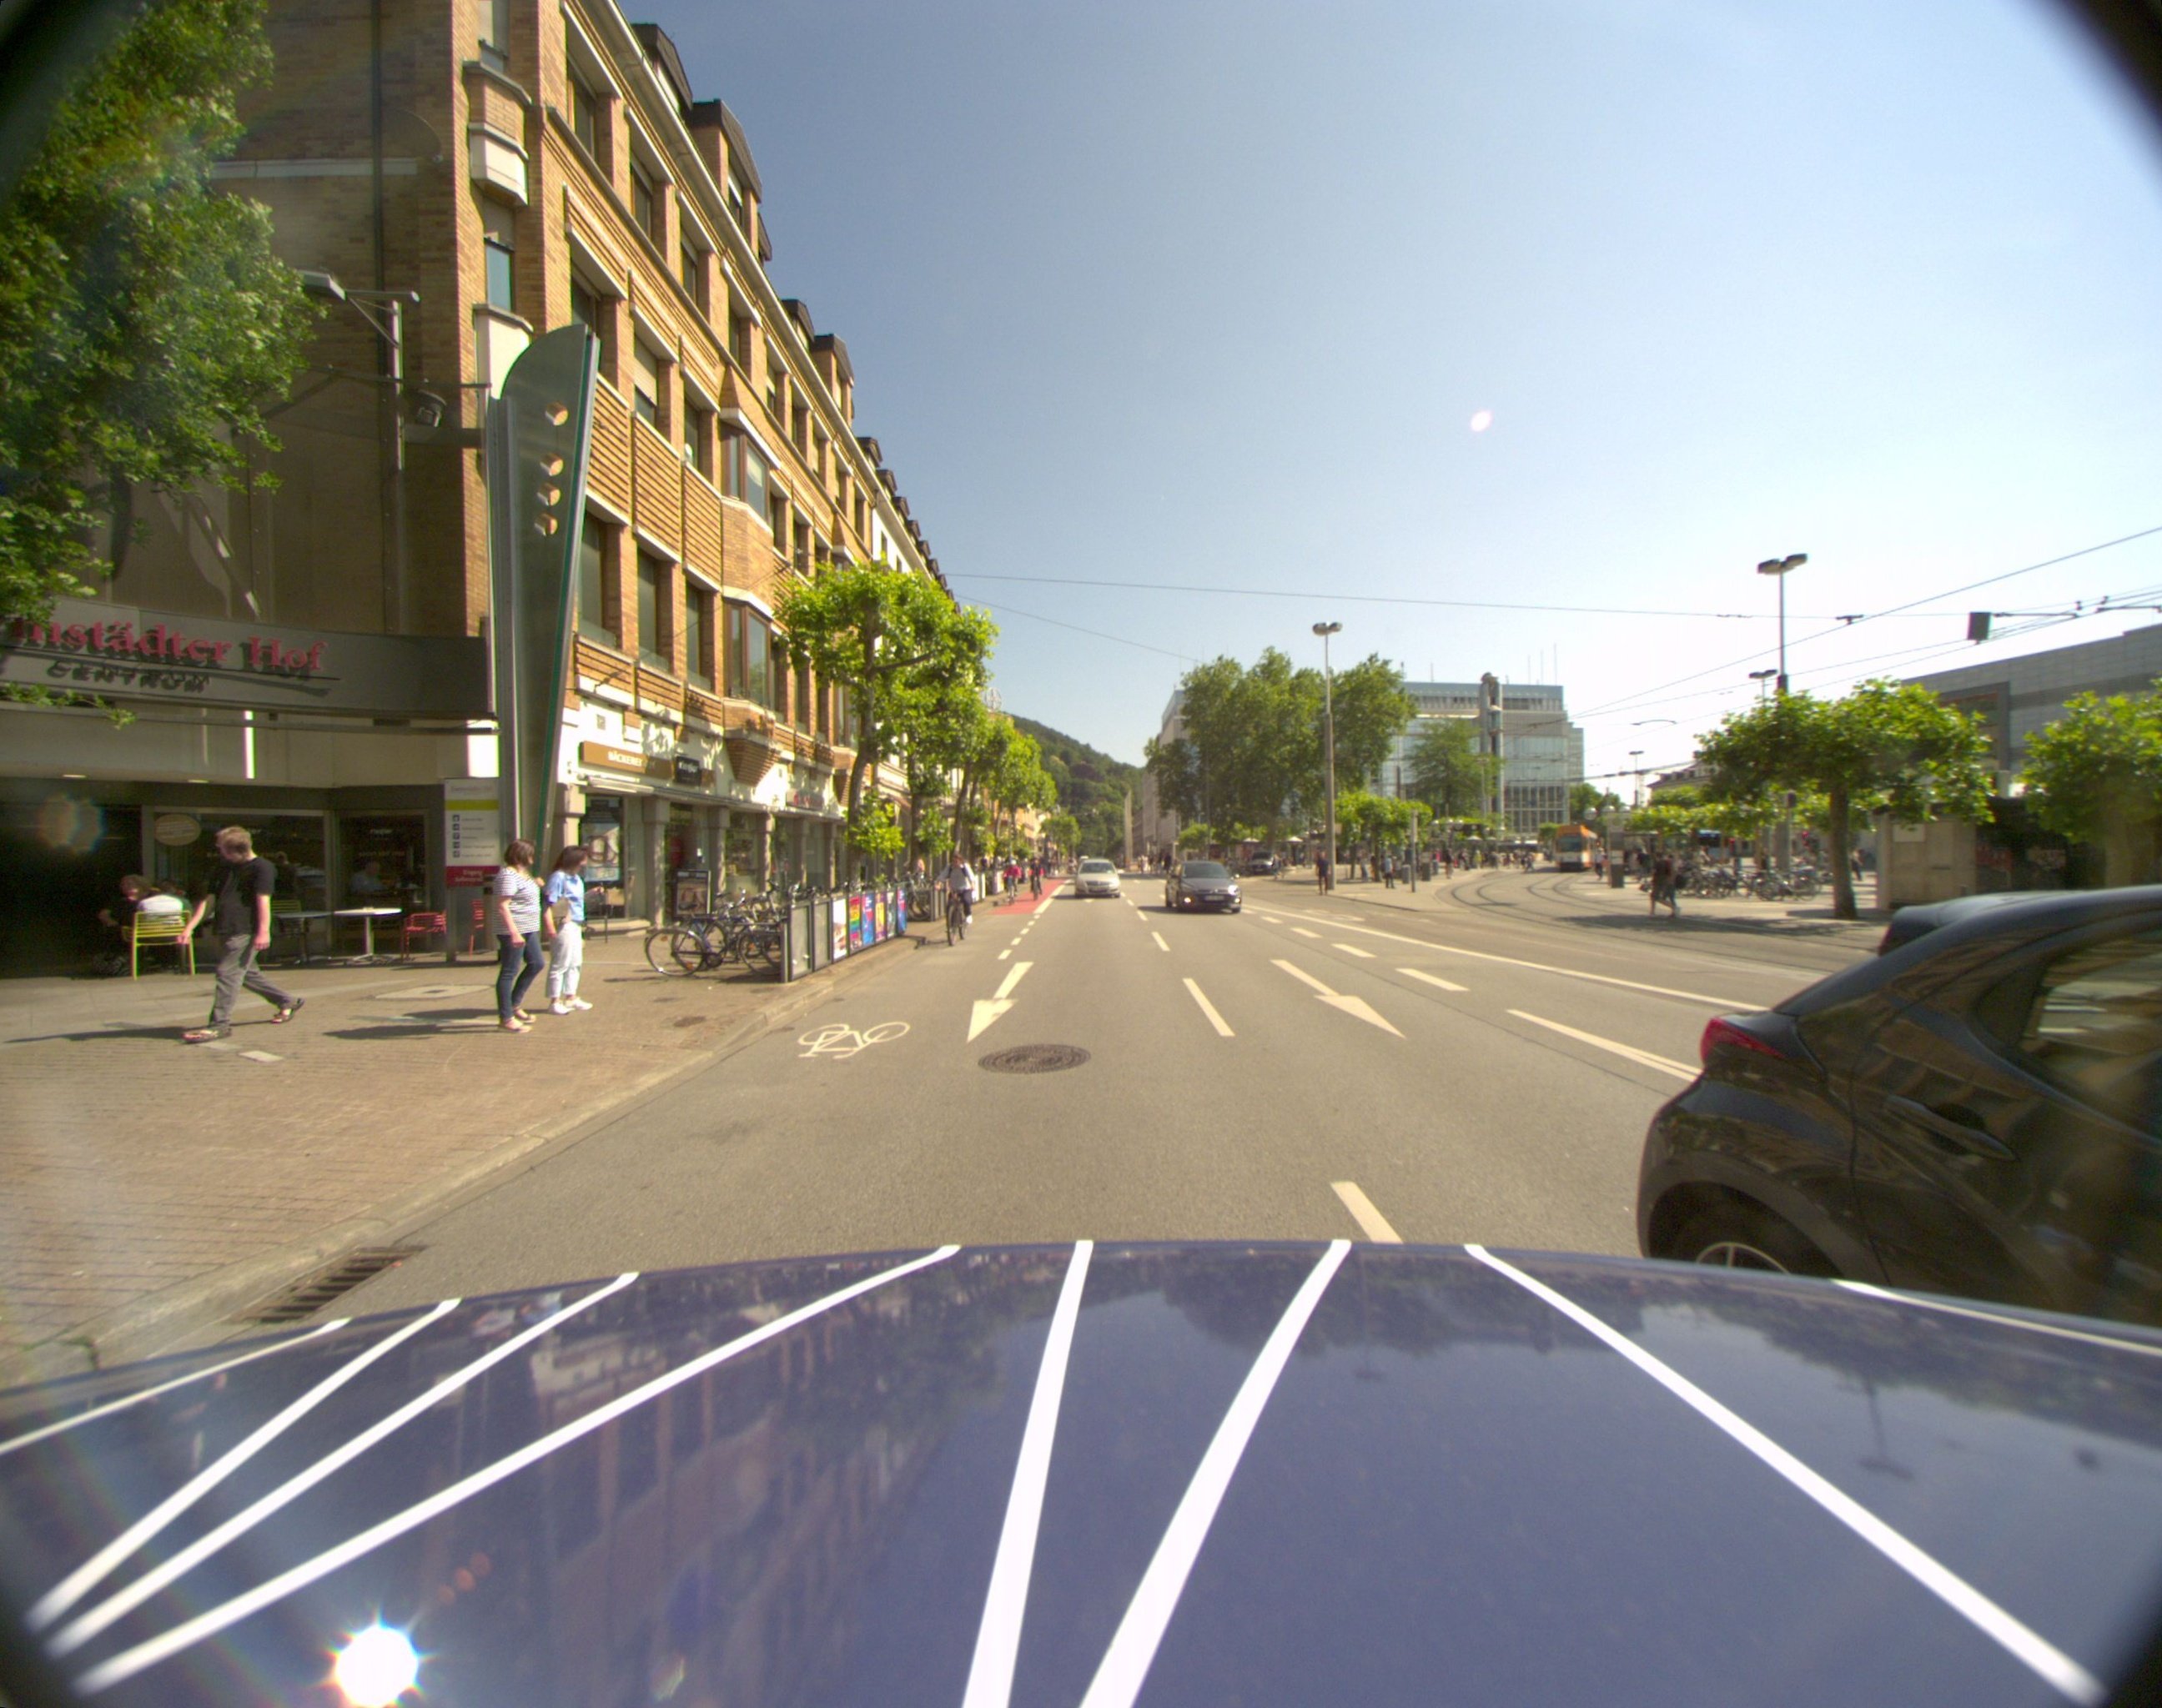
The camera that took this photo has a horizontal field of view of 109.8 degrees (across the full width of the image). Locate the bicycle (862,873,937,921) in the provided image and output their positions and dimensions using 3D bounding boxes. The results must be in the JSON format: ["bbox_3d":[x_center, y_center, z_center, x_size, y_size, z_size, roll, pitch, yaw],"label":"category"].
[{"bbox_3d":[-4.550,1.078,19.090,1.757,1.140,0.483,-1,1,-1],"label":"bicycle"}]

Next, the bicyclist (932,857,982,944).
[{"bbox_3d":[-2.355,0.869,14.560,0.750,1.567,0.778,-3,1,0],"label":"bicyclist"}]

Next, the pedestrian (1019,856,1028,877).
[{"bbox_3d":[-4.820,1.055,63.715,0.578,1.675,0.622,-3,1,-2],"label":"pedestrian"}]

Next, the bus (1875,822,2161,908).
[{"bbox_3d":[44.532,0.352,36.798,3.060,3.400,12.476,-3,0,20],"label":"bus"}]

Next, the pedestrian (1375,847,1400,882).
[{"bbox_3d":[14.770,0.481,36.609,0.895,1.649,0.680,-1,1,-8],"label":"pedestrian"}]

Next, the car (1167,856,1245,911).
[{"bbox_3d":[3.526,0.791,22.098,1.699,1.397,4.000,1,0,2],"label":"car"}]

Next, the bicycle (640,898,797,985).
[{"bbox_3d":[-4.626,1.110,9.756,1.757,1.012,0.483,-1,1,-1],"label":"bicycle"}]

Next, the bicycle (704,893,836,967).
[{"bbox_3d":[-4.639,1.127,11.394,1.757,1.012,0.483,-1,1,-1],"label":"bicycle"}]

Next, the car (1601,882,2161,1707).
[{"bbox_3d":[2.407,0.834,0.325,1.781,1.466,4.001,0,0,3],"label":"car"}]

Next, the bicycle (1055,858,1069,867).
[{"bbox_3d":[-2.404,1.133,98.223,1.757,1.140,0.592,-1,1,-1],"label":"bicycle"}]

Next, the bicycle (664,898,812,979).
[{"bbox_3d":[-4.633,1.138,10.328,1.757,1.012,0.483,-1,1,-1],"label":"bicycle"}]

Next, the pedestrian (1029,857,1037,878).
[{"bbox_3d":[-3.988,1.111,62.981,0.578,1.675,0.775,-3,1,-2],"label":"pedestrian"}]

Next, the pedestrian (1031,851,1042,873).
[{"bbox_3d":[-3.591,0.652,61.632,0.620,1.675,0.579,-2,1,44],"label":"pedestrian"}]

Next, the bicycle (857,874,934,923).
[{"bbox_3d":[-4.531,1.080,18.609,1.757,1.140,0.483,-1,1,-1],"label":"bicycle"}]

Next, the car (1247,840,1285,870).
[{"bbox_3d":[13.934,0.025,56.939,1.995,2.002,5.074,-3,0,22],"label":"car"}]

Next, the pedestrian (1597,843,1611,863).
[{"bbox_3d":[41.117,-0.073,59.734,0.681,1.540,0.577,1,0,-26],"label":"pedestrian"}]

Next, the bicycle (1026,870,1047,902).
[{"bbox_3d":[-1.672,1.187,28.782,0.667,1.086,1.897,-3,0,-2],"label":"bicycle"}]

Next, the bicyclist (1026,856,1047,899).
[{"bbox_3d":[-1.691,0.873,28.885,0.690,1.567,0.778,-3,1,-2],"label":"bicyclist"}]

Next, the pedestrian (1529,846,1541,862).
[{"bbox_3d":[42.636,0.015,71.415,0.757,1.464,0.555,-3,1,0],"label":"pedestrian"}]

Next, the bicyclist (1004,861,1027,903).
[{"bbox_3d":[-2.268,0.957,26.403,0.690,1.388,0.778,-3,1,-1],"label":"bicyclist"}]

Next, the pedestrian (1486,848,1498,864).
[{"bbox_3d":[39.198,0.158,72.502,0.757,1.464,0.555,-3,1,0],"label":"pedestrian"}]

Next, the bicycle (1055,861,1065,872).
[{"bbox_3d":[-2.288,1.348,82.549,0.737,1.086,1.895,2,0,-13],"label":"bicycle"}]

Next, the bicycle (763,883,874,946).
[{"bbox_3d":[-4.597,1.054,13.352,1.757,1.012,0.483,-1,1,-1],"label":"bicycle"}]

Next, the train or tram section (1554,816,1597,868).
[{"bbox_3d":[39.993,-1.047,61.325,2.615,3.805,9.536,-2,0,34],"label":"train or tram section"}]

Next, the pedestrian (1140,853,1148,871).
[{"bbox_3d":[6.136,0.748,73.979,0.575,1.704,0.652,-3,1,-1],"label":"pedestrian"}]

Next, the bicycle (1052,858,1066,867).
[{"bbox_3d":[-2.729,1.054,93.604,1.757,1.140,0.592,-1,1,-1],"label":"bicycle"}]

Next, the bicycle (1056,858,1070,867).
[{"bbox_3d":[-2.370,1.101,99.261,1.757,1.140,0.592,-1,1,-1],"label":"bicycle"}]

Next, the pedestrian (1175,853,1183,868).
[{"bbox_3d":[11.712,0.779,90.924,0.732,1.660,0.640,-3,1,14],"label":"pedestrian"}]

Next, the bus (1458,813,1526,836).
[{"bbox_3d":[57.170,-4.084,105.456,12.202,2.774,2.385,-3,1,-31],"label":"bus"}]

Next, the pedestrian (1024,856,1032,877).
[{"bbox_3d":[-4.469,1.078,64.639,0.578,1.714,0.622,-3,1,-2],"label":"pedestrian"}]

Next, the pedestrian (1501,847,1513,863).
[{"bbox_3d":[40.173,0.135,71.678,0.757,1.464,0.555,-3,1,0],"label":"pedestrian"}]

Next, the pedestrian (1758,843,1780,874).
[{"bbox_3d":[34.520,0.229,38.136,0.600,1.543,0.530,1,0,4],"label":"pedestrian"}]

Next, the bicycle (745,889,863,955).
[{"bbox_3d":[-4.612,1.124,12.709,1.757,1.012,0.483,-1,1,-1],"label":"bicycle"}]

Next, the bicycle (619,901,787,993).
[{"bbox_3d":[-4.562,1.111,9.217,1.757,1.012,0.483,-1,1,-1],"label":"bicycle"}]

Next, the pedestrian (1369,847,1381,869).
[{"bbox_3d":[19.770,0.297,51.067,0.727,1.457,0.682,1,0,21],"label":"pedestrian"}]

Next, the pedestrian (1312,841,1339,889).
[{"bbox_3d":[10.273,0.448,31.884,0.897,1.996,0.678,1,0,-43],"label":"pedestrian"}]

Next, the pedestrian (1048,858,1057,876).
[{"bbox_3d":[-2.601,1.177,69.827,0.579,1.675,0.726,-3,1,-22],"label":"pedestrian"}]

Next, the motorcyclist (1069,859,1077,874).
[{"bbox_3d":[-0.819,1.263,75.849,0.736,1.446,0.707,-3,1,1],"label":"motorcyclist"}]

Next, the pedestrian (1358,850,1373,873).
[{"bbox_3d":[16.205,0.409,43.233,0.577,1.227,0.555,-4,2,35],"label":"pedestrian"}]

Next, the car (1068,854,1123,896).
[{"bbox_3d":[0.585,0.743,29.218,1.918,1.401,4.000,-3,0,2],"label":"car"}]

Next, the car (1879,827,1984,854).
[{"bbox_3d":[52.036,-0.811,46.620,1.760,1.499,3.998,-3,0,-5],"label":"car"}]

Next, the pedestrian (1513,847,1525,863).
[{"bbox_3d":[41.074,0.100,71.205,0.757,1.464,0.555,-3,1,0],"label":"pedestrian"}]

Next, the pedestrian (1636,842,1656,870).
[{"bbox_3d":[28.783,0.096,38.695,0.682,1.410,0.623,2,0,-37],"label":"pedestrian"}]

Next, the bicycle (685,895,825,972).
[{"bbox_3d":[-4.645,1.121,10.877,1.757,1.012,0.483,-1,1,-1],"label":"bicycle"}]

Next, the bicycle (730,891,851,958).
[{"bbox_3d":[-4.607,1.118,12.111,1.721,0.979,0.483,-1,1,-1],"label":"bicycle"}]

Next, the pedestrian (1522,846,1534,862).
[{"bbox_3d":[42.316,0.018,71.977,0.757,1.464,0.555,-3,1,0],"label":"pedestrian"}]

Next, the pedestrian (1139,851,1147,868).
[{"bbox_3d":[6.263,0.555,77.004,0.639,1.737,0.733,-3,1,-1],"label":"pedestrian"}]

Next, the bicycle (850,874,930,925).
[{"bbox_3d":[-4.533,1.080,18.109,1.757,1.140,0.483,-1,1,-1],"label":"bicycle"}]

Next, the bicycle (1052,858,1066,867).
[{"bbox_3d":[-2.718,1.054,94.437,1.757,1.140,0.592,-1,1,-1],"label":"bicycle"}]

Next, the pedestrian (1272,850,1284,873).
[{"bbox_3d":[12.754,0.495,49.253,0.624,1.457,0.680,0,0,1],"label":"pedestrian"}]

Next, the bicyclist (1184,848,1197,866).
[{"bbox_3d":[9.091,0.250,63.286,0.831,1.489,1.160,-3,1,-1],"label":"bicyclist"}]

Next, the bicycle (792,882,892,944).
[{"bbox_3d":[-4.654,1.144,14.851,1.757,1.140,0.483,-1,1,-1],"label":"bicycle"}]
